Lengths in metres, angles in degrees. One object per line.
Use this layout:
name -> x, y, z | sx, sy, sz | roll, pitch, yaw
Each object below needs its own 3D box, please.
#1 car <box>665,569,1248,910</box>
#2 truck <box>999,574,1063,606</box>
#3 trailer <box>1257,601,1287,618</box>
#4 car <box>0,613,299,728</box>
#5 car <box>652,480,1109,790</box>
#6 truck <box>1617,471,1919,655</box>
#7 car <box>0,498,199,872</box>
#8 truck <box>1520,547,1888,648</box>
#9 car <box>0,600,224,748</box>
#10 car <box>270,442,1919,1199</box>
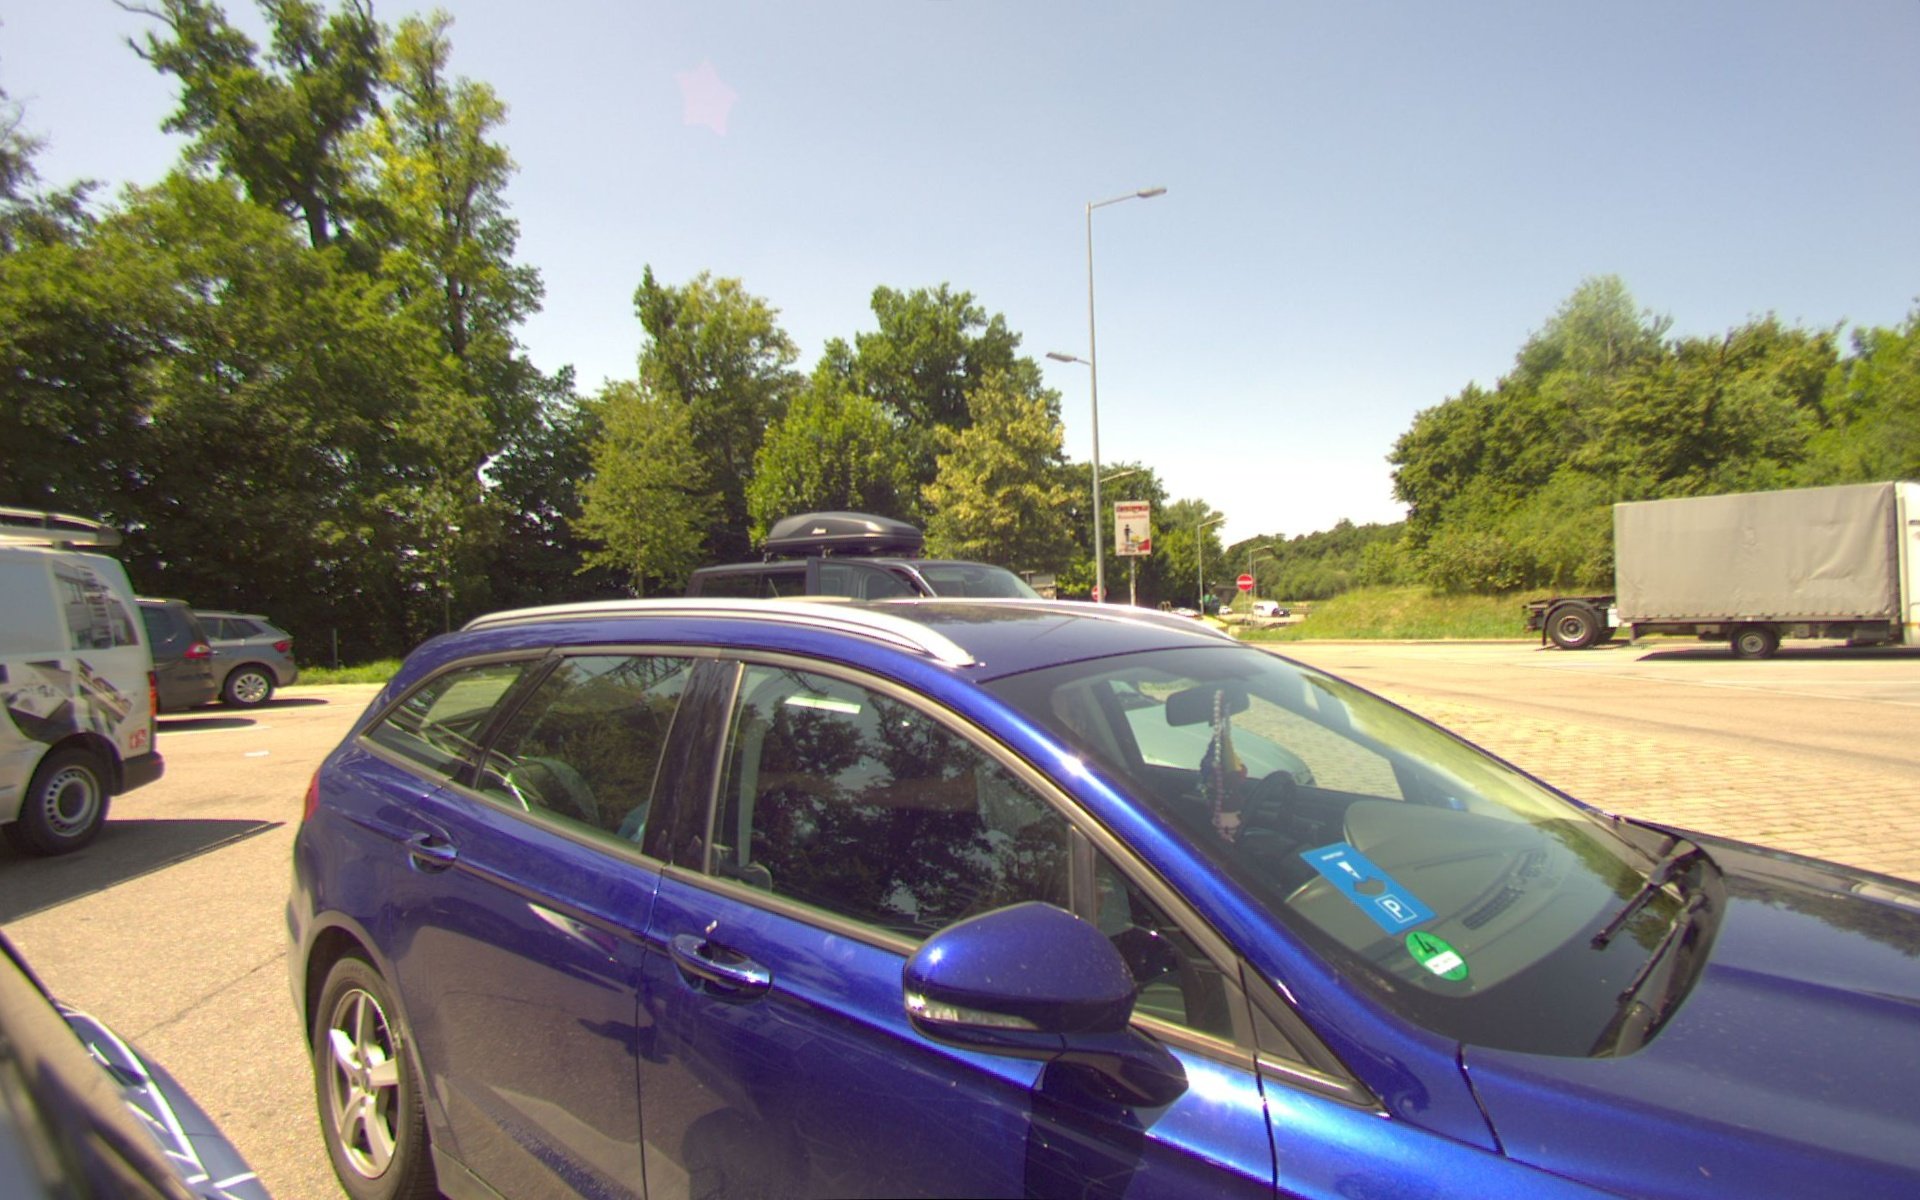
car -> -0.172, 0.596, 5.596 | 3.112, 1.370, 1.326 | -2, -1, 41
truck -> 3.438, -0.462, 48.810 | 2.866, 1.386, 1.158 | -2, -1, 22
trailer -> 52.023, 1.607, 168.759 | 2.522, 2.744, 5.945 | -1, 0, -7
car -> -12.503, 1.000, 15.718 | 3.535, 1.513, 1.708 | -1, 0, -42
car -> -0.855, 0.324, 9.543 | 4.076, 2.336, 1.767 | -2, -1, 35
truck -> 16.691, -0.627, 18.770 | 7.253, 3.175, 2.148 | -2, -1, 41
car -> -6.256, 0.467, 4.634 | 1.816, 2.121, 5.440 | 0, -1, -5
truck -> 16.920, 0.045, 23.448 | 6.613, 2.029, 1.973 | -2, -1, 41
car -> -11.634, 0.885, 12.584 | 1.755, 1.701, 3.798 | -2, -1, 45
car -> 0.264, 0.642, 2.067 | 4.411, 1.429, 1.721 | -2, -1, 41
